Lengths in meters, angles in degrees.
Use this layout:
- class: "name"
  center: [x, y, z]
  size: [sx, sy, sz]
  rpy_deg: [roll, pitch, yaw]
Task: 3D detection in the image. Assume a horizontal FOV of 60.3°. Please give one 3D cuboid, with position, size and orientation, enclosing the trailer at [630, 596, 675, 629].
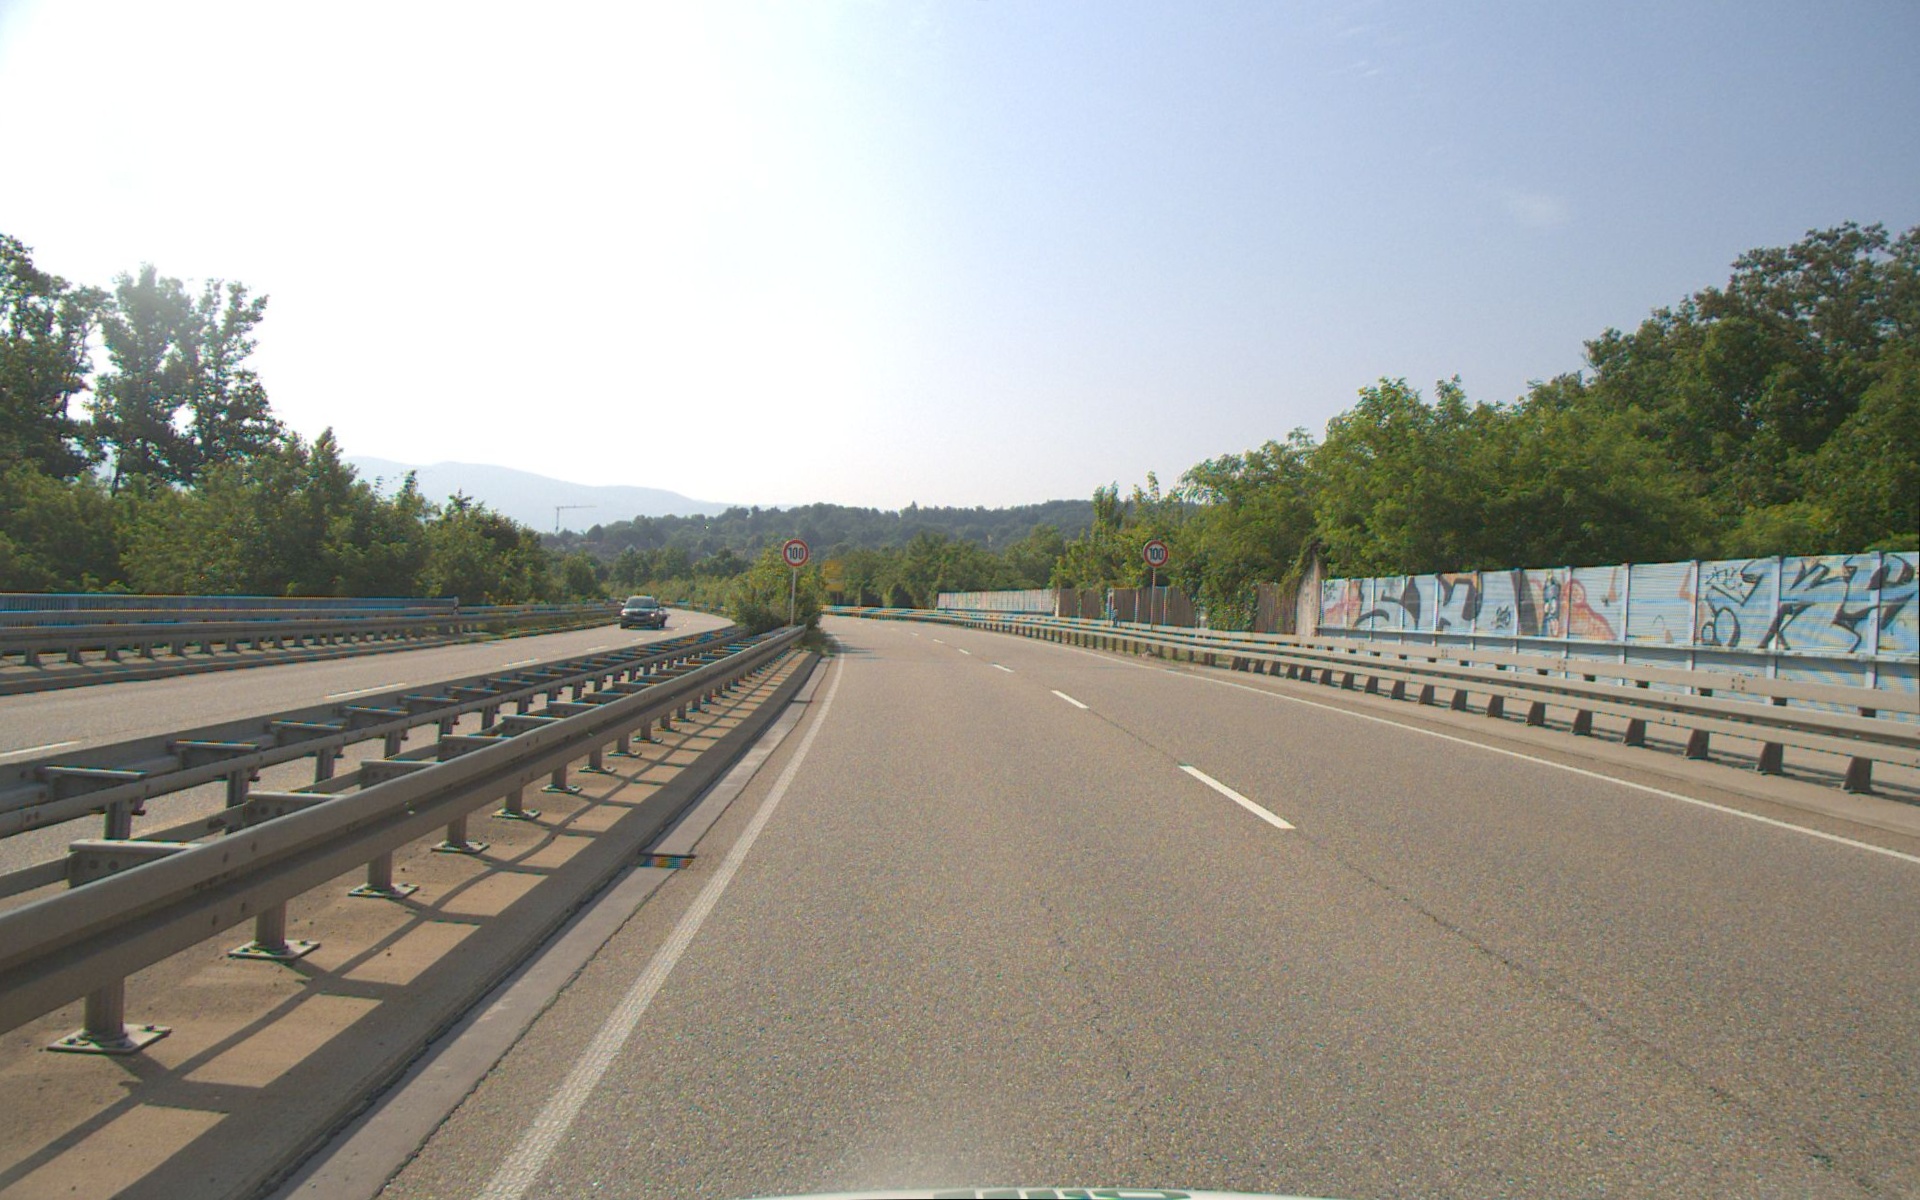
- class: "trailer"
  center: [-16.218, 0.637, 87.343]
  size: [1.684, 1.606, 4.808]
  rpy_deg: [2, 0, -4]

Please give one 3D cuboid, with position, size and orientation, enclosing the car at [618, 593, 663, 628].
- class: "car"
  center: [-15.999, 0.519, 82.934]
  size: [1.690, 1.624, 3.997]
  rpy_deg: [2, 0, -4]
